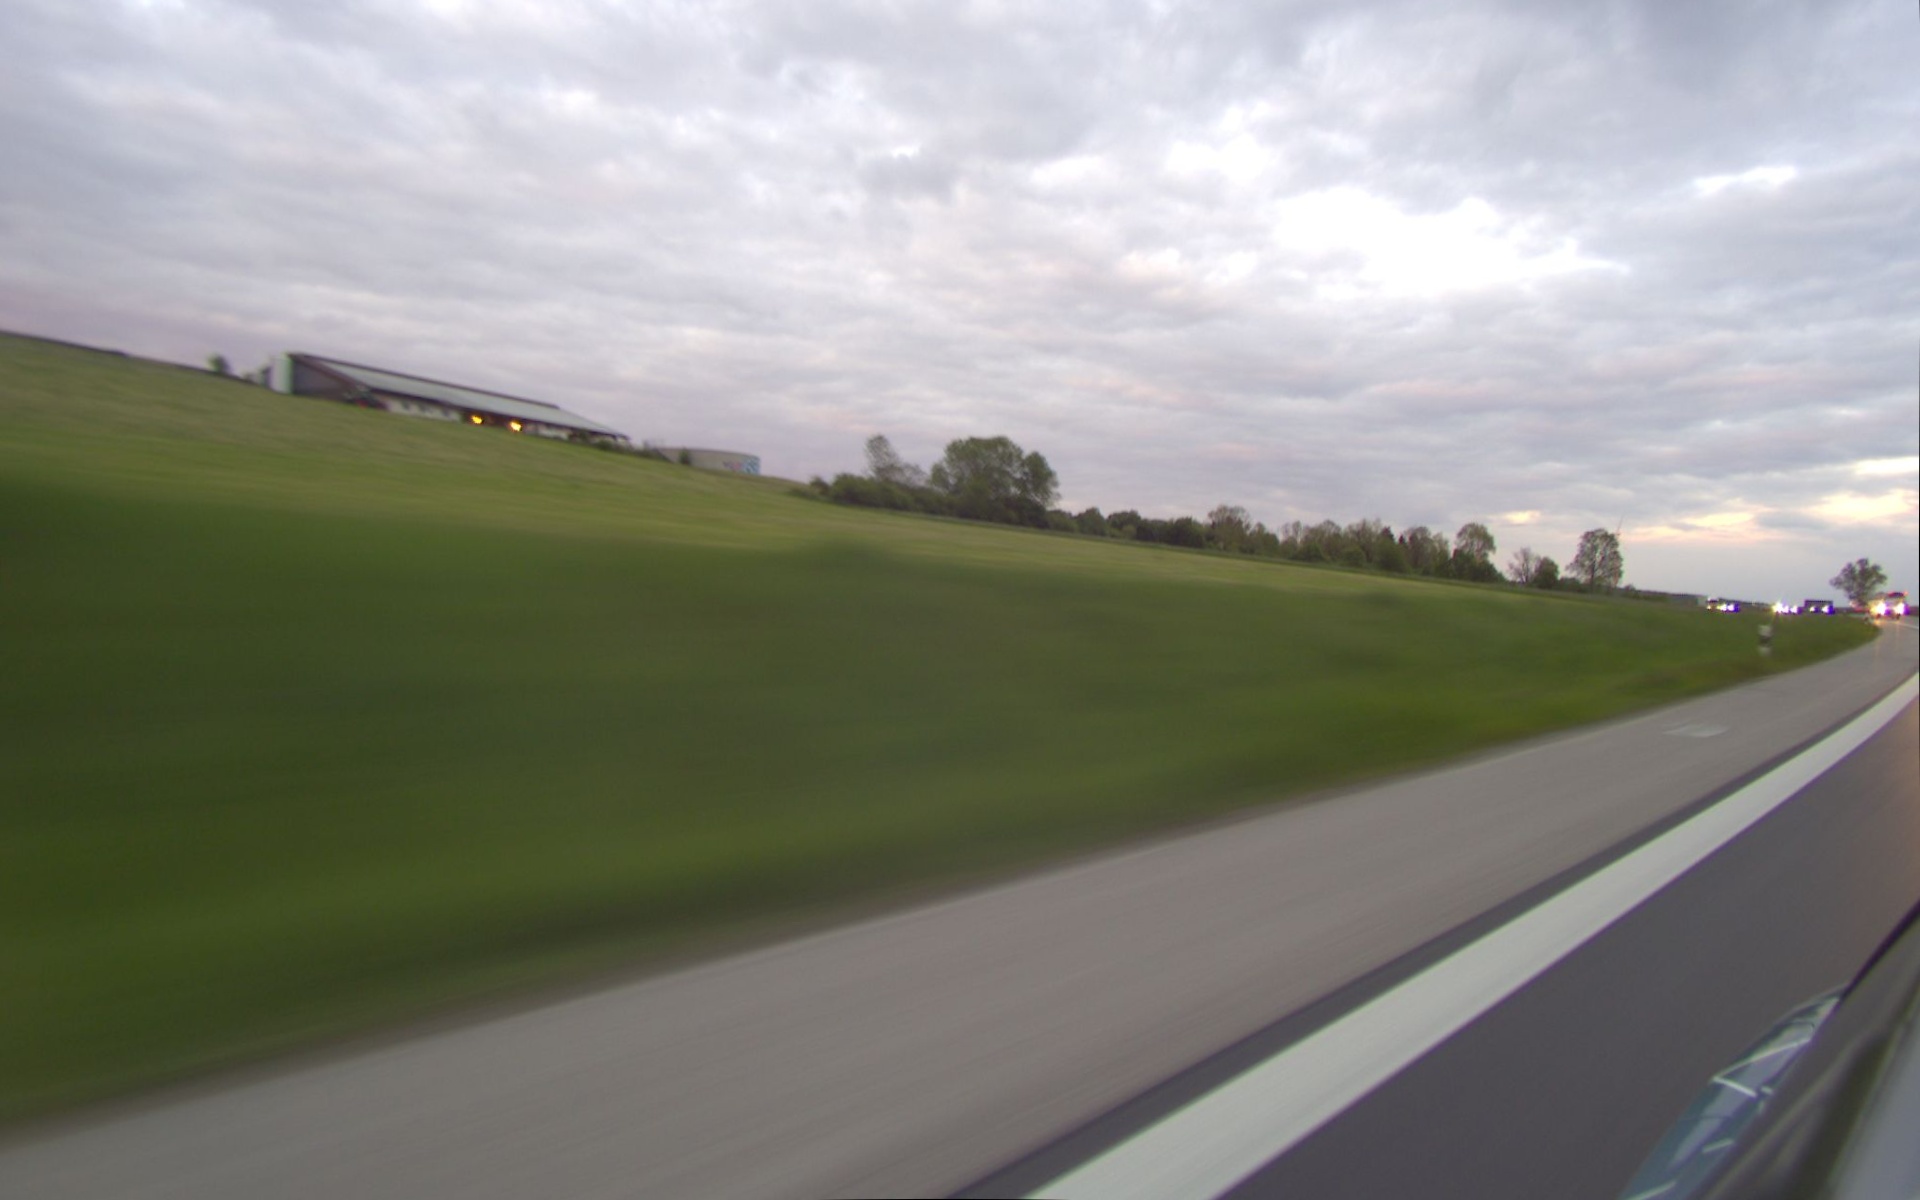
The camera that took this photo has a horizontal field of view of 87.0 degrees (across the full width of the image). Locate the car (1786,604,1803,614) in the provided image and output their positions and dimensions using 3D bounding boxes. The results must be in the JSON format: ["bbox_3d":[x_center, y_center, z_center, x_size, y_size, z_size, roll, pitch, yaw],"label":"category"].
[{"bbox_3d":[146.588,1.565,177.847,1.791,1.665,4.046,1,1,33],"label":"car"}]

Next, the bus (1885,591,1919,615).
[{"bbox_3d":[167.601,0.431,179.428,3.155,4.127,14.626,0,0,35],"label":"bus"}]

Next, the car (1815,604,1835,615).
[{"bbox_3d":[134.324,1.497,157.150,1.790,1.665,4.047,1,1,32],"label":"car"}]

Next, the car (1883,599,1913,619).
[{"bbox_3d":[95.488,0.915,103.094,1.912,1.860,3.943,3,2,39],"label":"car"}]
